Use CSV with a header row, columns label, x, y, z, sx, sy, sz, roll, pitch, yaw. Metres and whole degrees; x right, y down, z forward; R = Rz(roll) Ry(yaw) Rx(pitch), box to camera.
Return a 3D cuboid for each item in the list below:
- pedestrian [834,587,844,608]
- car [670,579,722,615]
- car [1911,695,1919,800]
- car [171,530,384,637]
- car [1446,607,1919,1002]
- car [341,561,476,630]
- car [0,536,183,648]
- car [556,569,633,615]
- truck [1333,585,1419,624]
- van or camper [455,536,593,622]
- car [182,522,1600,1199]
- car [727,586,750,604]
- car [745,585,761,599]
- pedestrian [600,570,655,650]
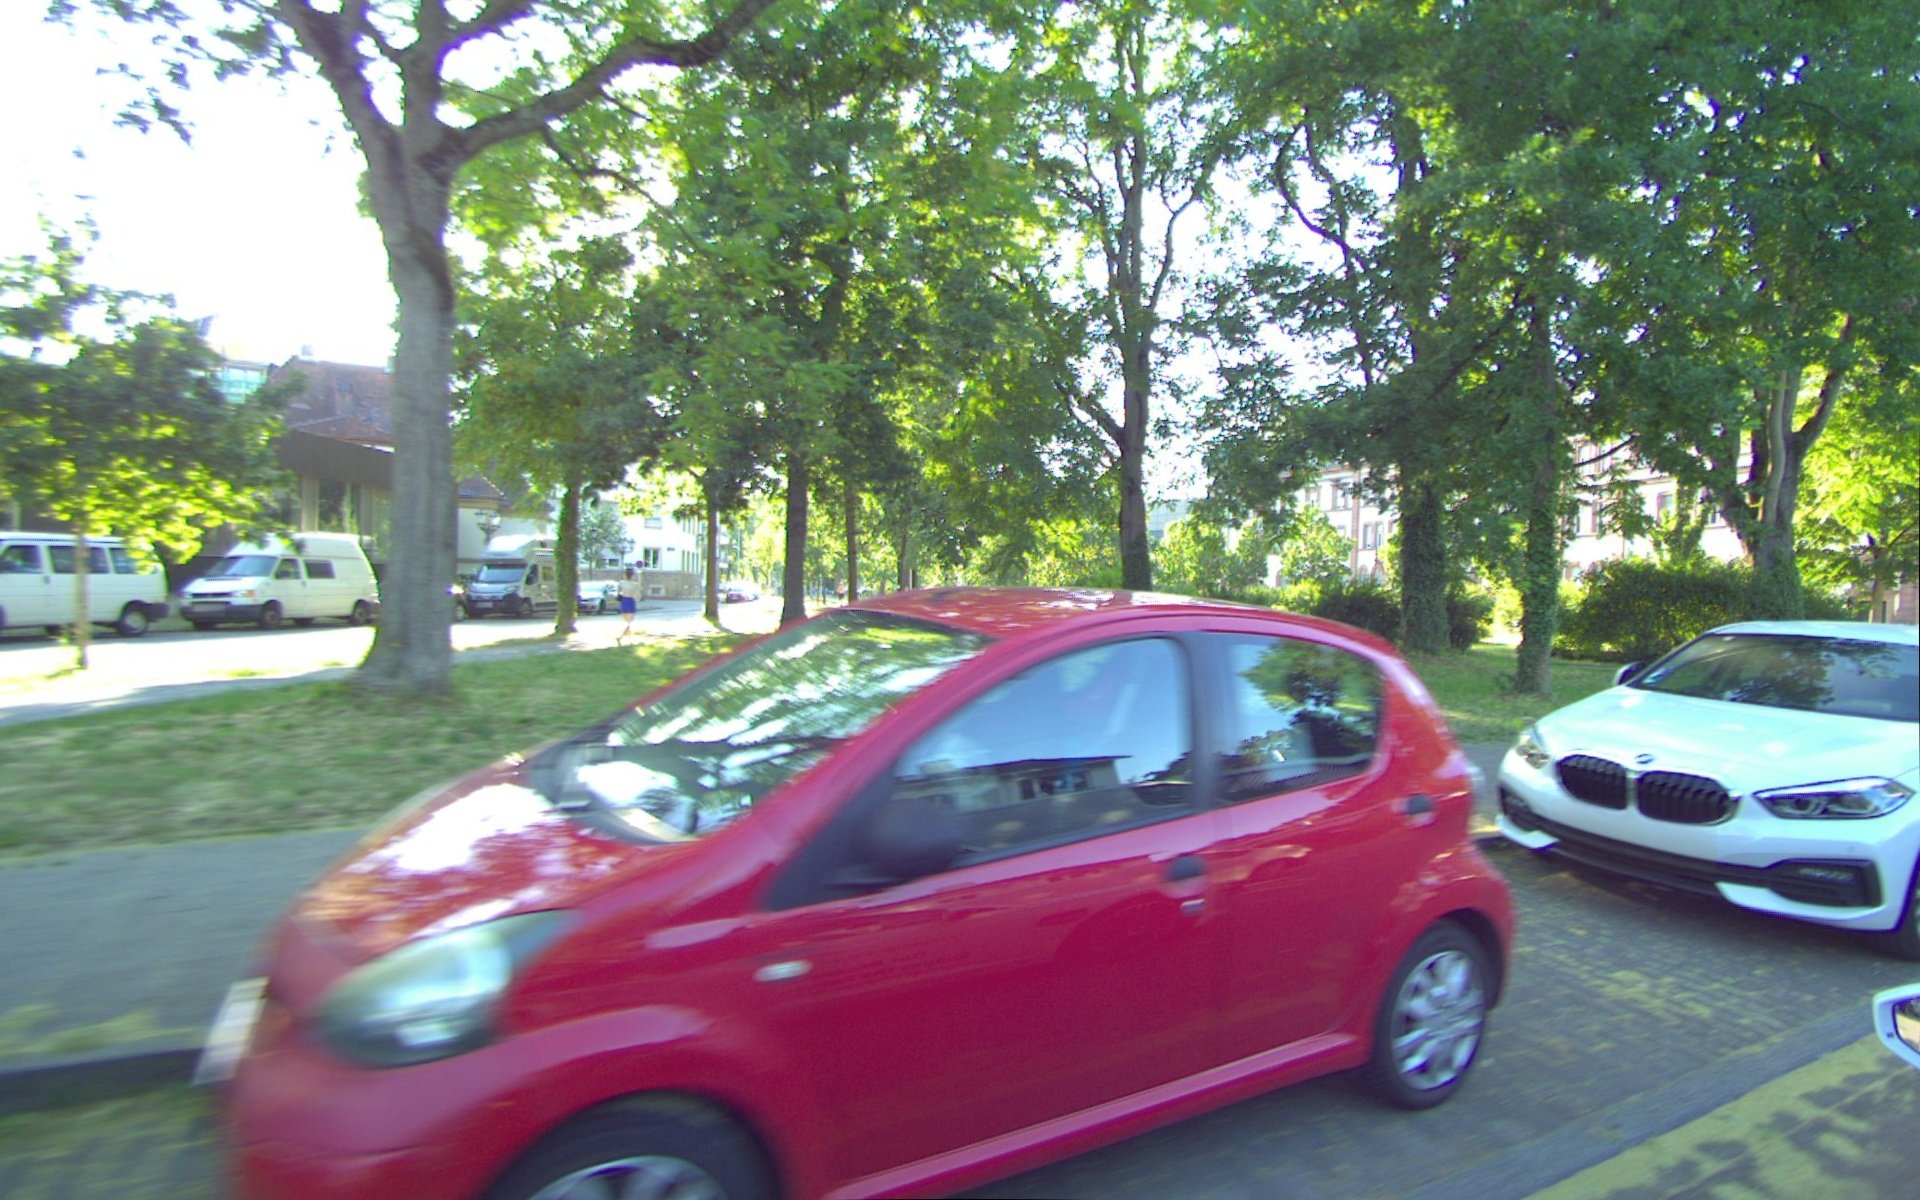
label,x,y,z,sx,sy,sz,roll,pitch,yaw
pedestrian,-9.274,-0.199,76.704,0.626,1.619,0.668,1,1,-17
car,-15.034,-0.183,57.391,1.820,1.911,4.144,2,1,1
car,9.890,0.975,8.450,3.660,1.516,1.631,1,3,-29
car,-17.121,-0.403,25.596,1.820,2.387,5.186,2,1,1
car,4.734,0.839,5.536,3.926,1.425,1.683,2,3,-29
car,-16.839,-0.145,30.924,1.820,1.911,4.144,2,1,1
car,-17.546,-0.177,18.841,1.819,1.972,4.843,2,1,6
car,-16.058,-0.361,44.342,1.820,1.911,4.144,2,1,1
truck,35.523,0.294,86.186,2.568,3.070,7.986,2,1,-14
van or camper,-16.356,-0.760,38.168,2.055,2.947,6.333,2,1,4
car,0.081,0.615,2.825,3.384,1.442,1.381,1,3,-29
car,-18.482,-0.447,83.795,1.487,1.466,3.402,2,1,-6
car,-22.698,-0.856,110.249,1.656,1.432,3.870,2,1,-10
pedestrian,-6.865,0.202,20.737,0.760,1.596,0.768,1,1,16
